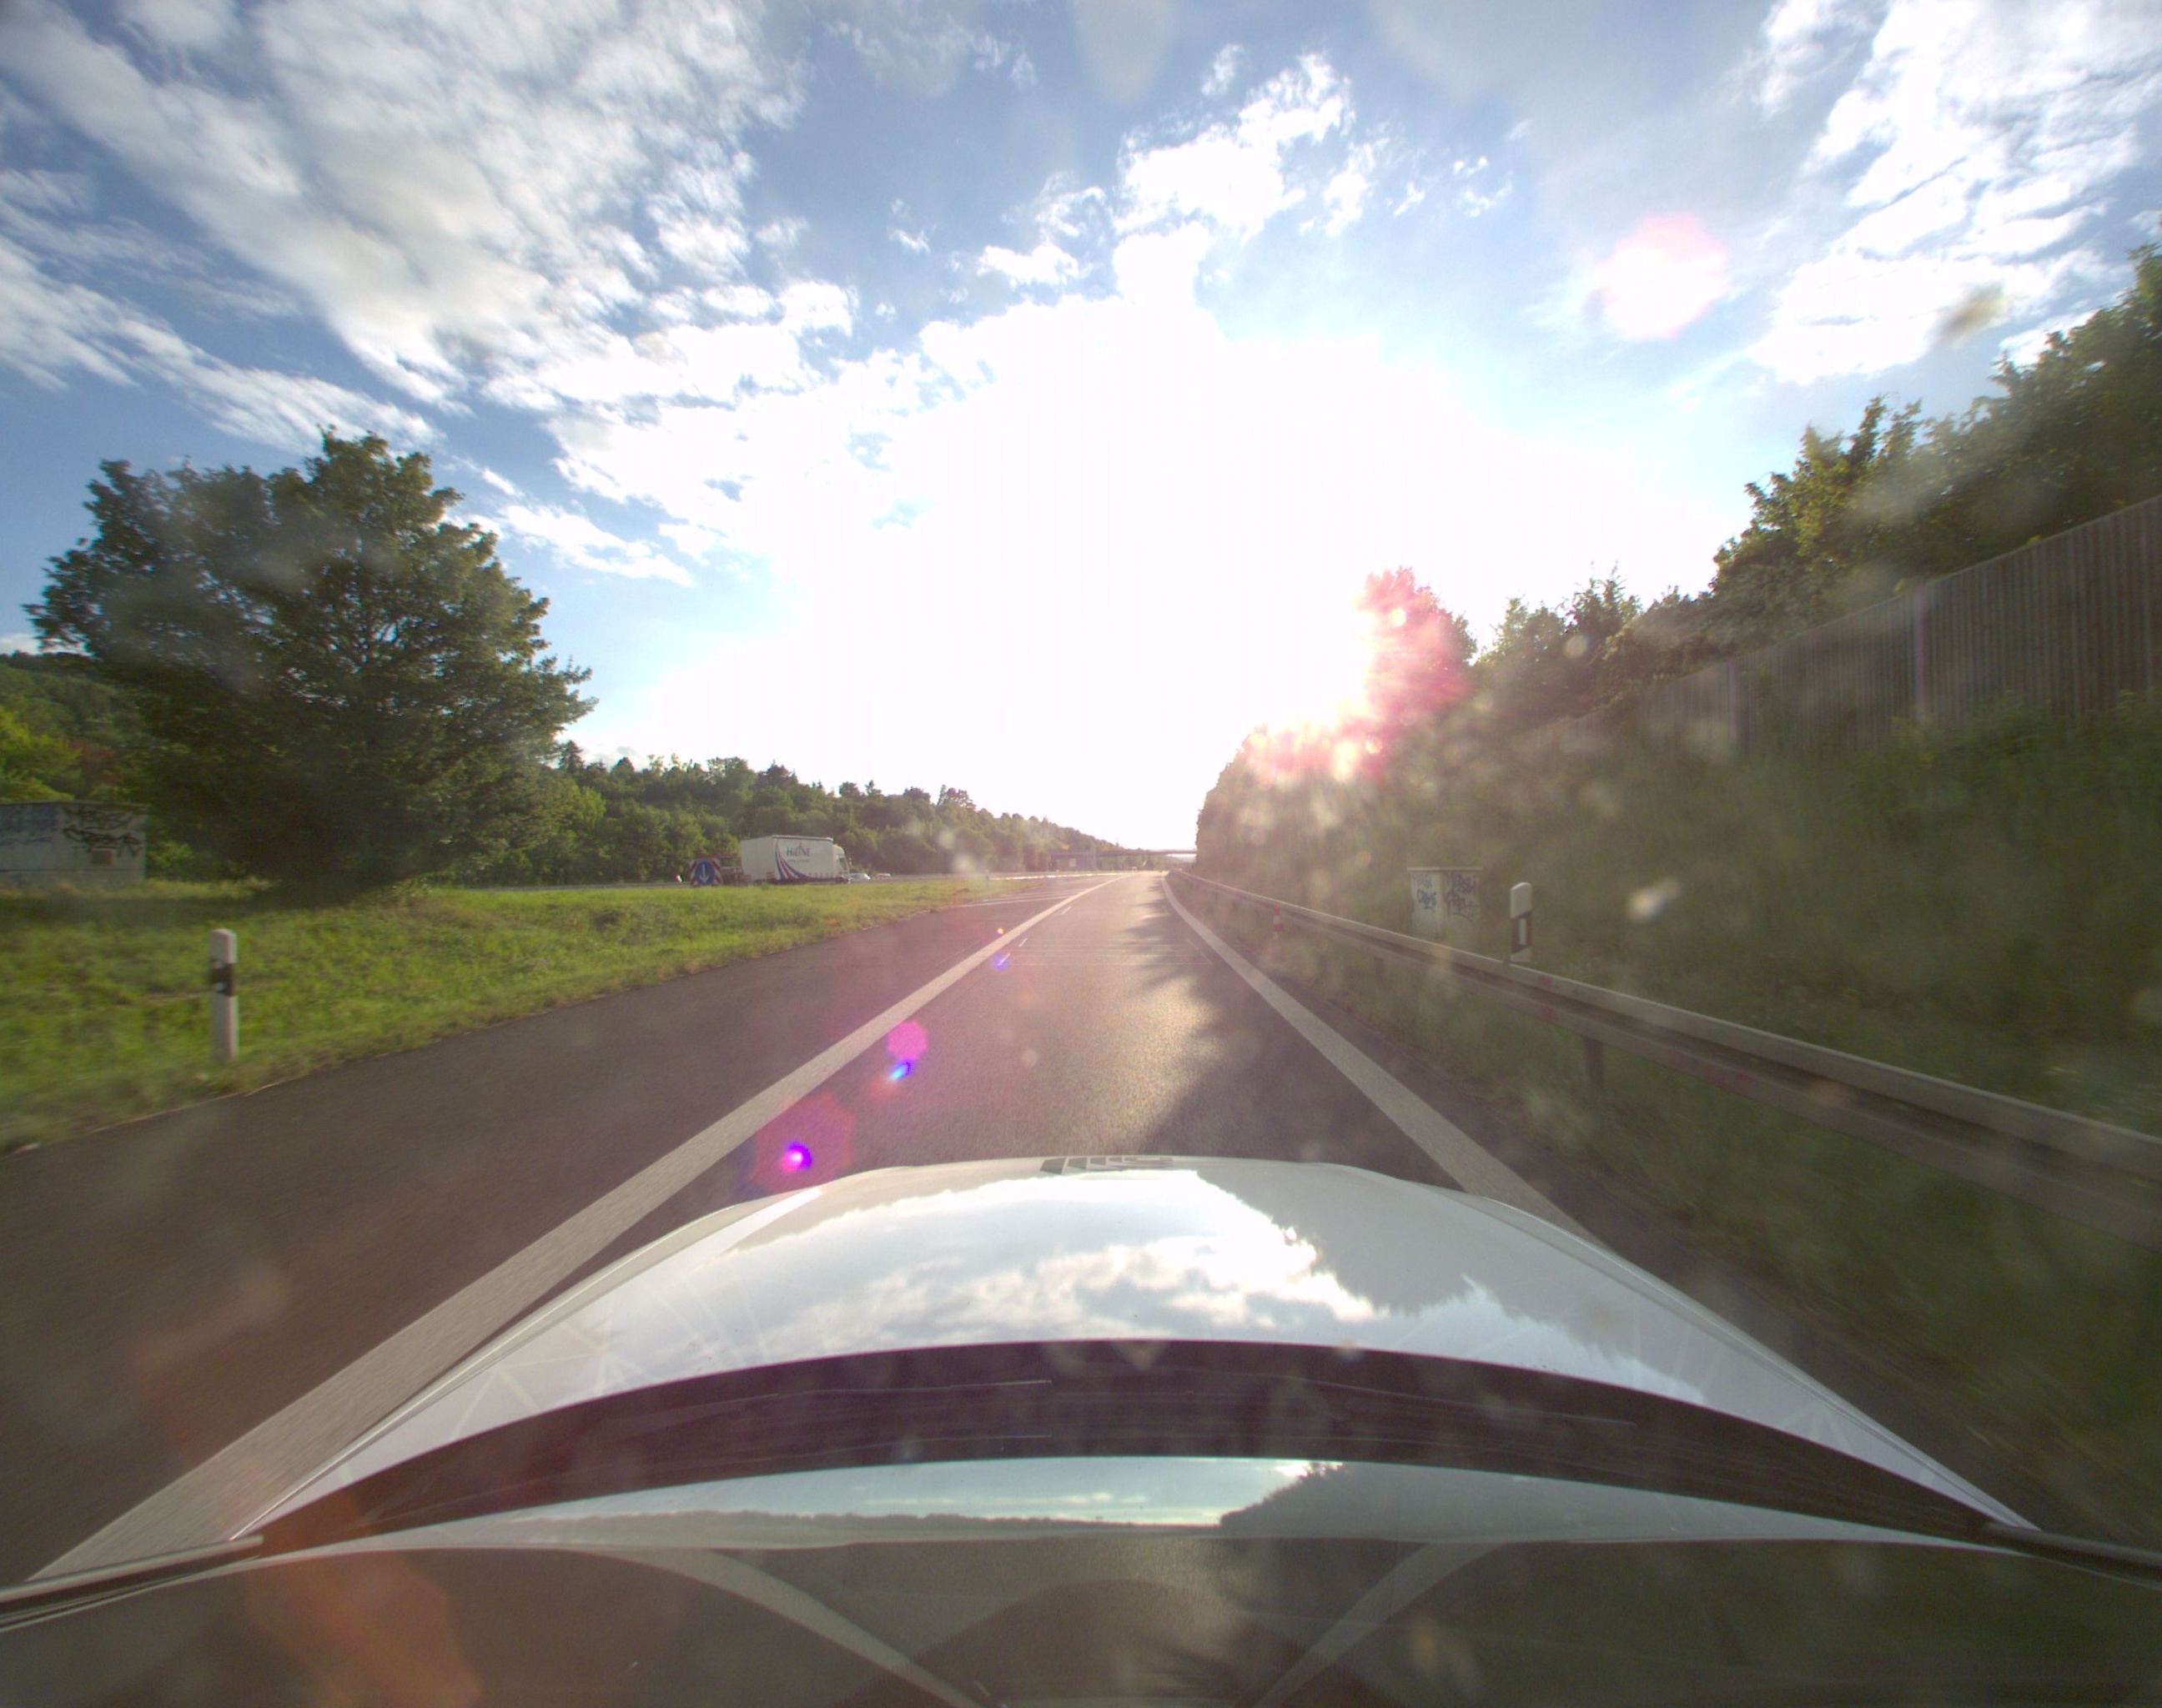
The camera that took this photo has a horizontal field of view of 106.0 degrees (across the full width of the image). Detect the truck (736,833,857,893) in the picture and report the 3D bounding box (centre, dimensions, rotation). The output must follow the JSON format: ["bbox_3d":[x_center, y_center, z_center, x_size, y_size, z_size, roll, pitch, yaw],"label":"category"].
[{"bbox_3d":[-19.701,0.620,57.276,2.898,3.789,9.705,-2,-1,16],"label":"truck"}]

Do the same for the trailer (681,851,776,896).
[{"bbox_3d":[-21.674,1.159,50.282,2.898,2.578,4.835,-2,-1,16],"label":"trailer"}]
